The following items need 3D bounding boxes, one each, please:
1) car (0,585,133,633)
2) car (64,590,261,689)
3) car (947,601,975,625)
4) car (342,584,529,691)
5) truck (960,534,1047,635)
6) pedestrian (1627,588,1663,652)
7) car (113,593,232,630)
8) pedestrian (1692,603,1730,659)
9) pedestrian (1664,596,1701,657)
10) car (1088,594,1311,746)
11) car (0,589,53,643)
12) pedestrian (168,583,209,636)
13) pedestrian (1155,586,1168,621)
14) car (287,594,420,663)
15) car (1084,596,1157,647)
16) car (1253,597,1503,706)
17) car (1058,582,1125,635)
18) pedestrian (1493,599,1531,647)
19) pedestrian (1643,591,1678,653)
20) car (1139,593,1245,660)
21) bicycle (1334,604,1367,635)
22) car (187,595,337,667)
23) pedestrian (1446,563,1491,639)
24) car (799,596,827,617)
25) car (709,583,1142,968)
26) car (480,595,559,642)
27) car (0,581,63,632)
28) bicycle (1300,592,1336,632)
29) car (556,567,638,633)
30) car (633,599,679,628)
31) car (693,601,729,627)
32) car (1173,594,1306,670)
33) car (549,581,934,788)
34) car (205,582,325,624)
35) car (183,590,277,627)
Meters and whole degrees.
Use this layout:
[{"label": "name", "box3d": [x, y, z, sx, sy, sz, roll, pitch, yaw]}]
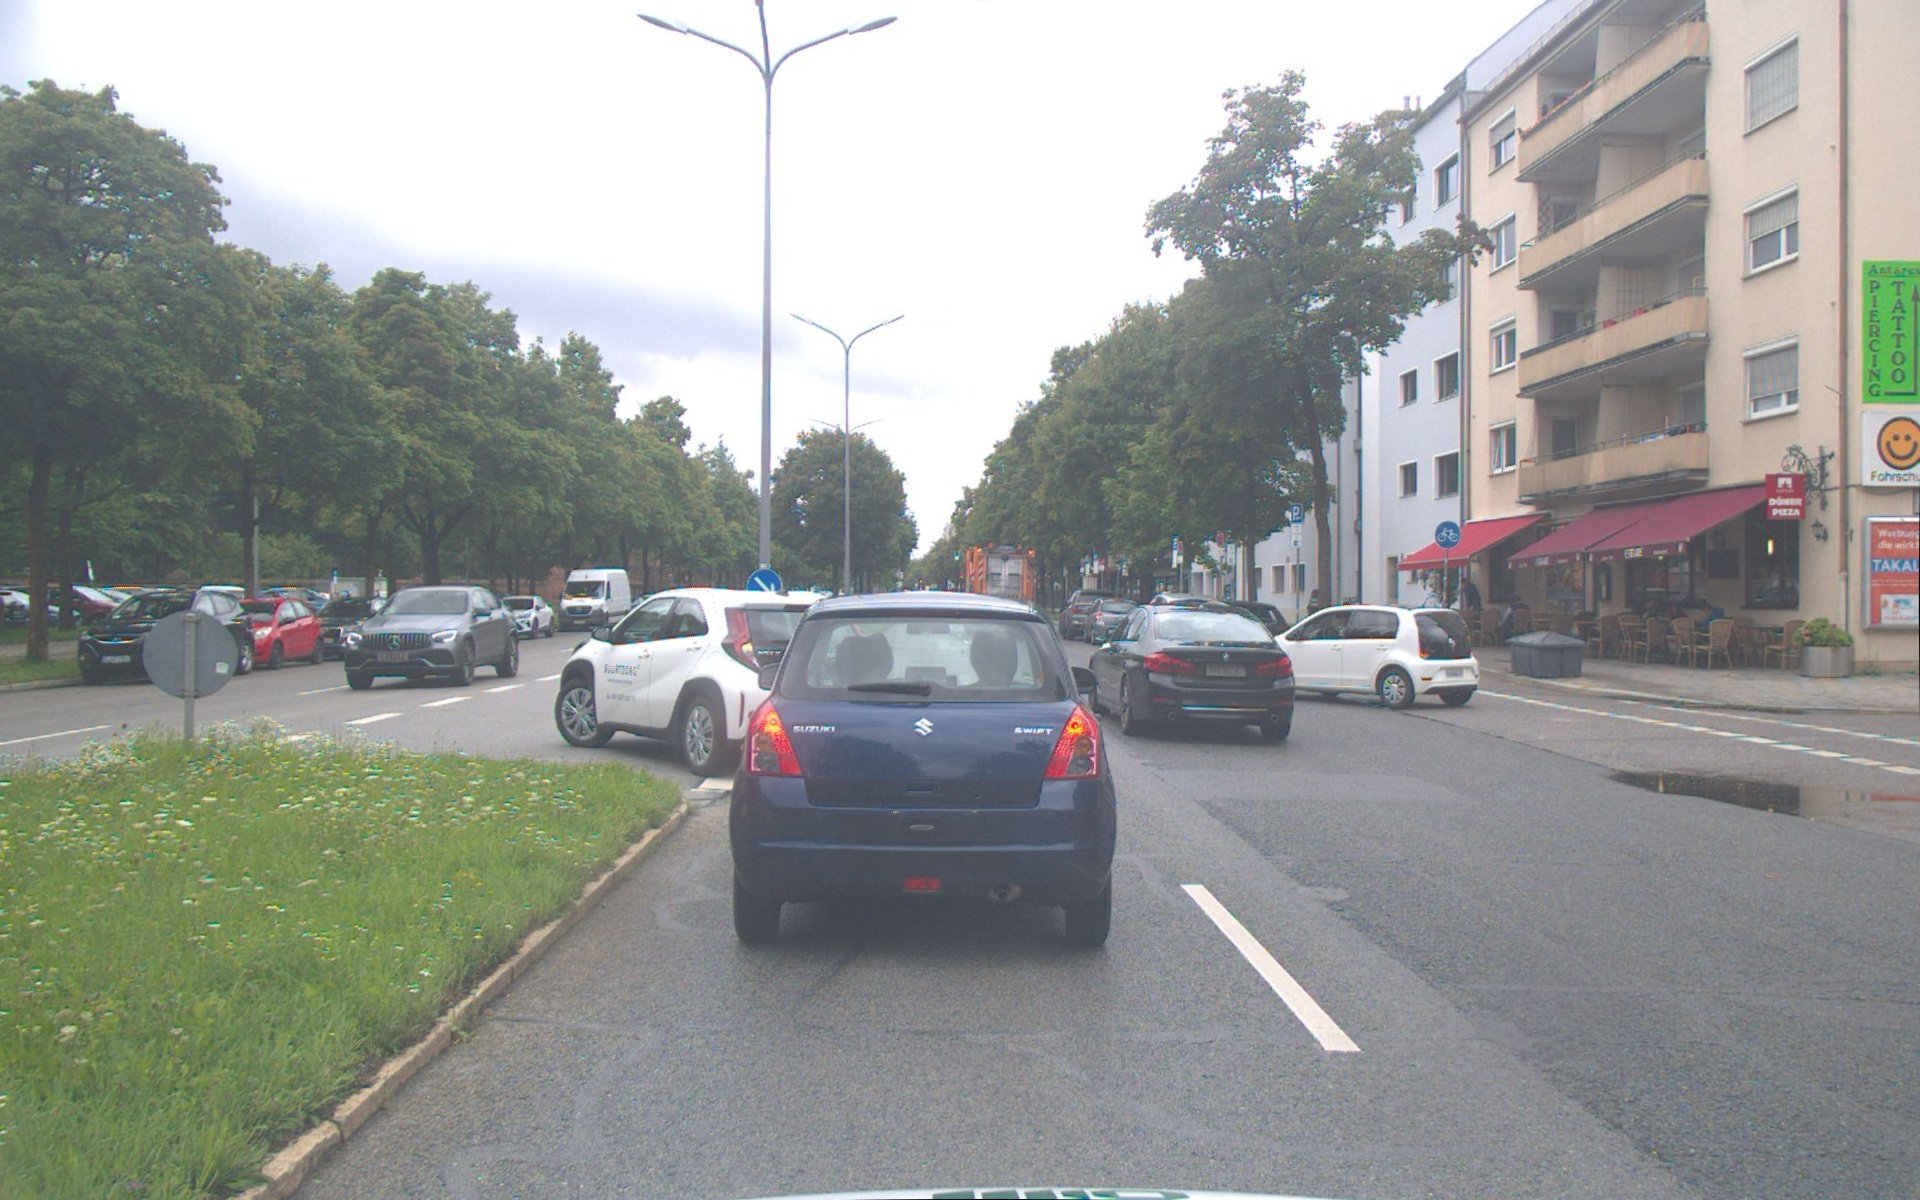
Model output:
[{"label": "car", "box3d": [-28.115, 0.274, 51.354, 3.911, 1.467, 1.997, 0, 0, -7]}, {"label": "car", "box3d": [-14.845, 0.719, 31.056, 1.785, 1.729, 4.237, 0, -1, -3]}, {"label": "car", "box3d": [0.053, 0.892, 114.230, 1.793, 1.549, 3.769, 0, 0, -3]}, {"label": "car", "box3d": [-8.653, 0.560, 27.698, 1.784, 1.617, 4.500, 0, 1, -1]}, {"label": "truck", "box3d": [1.593, -0.603, 66.666, 2.979, 3.619, 13.672, 0, 0, -1]}, {"label": "pedestrian", "box3d": [14.802, 0.432, 35.733, 0.527, 1.362, 0.552, 0, 0, -3]}, {"label": "car", "box3d": [-32.059, 0.462, 67.415, 3.911, 1.467, 1.997, 0, 0, -7]}, {"label": "pedestrian", "box3d": [14.647, 0.605, 32.264, 0.527, 1.072, 0.487, 0, 0, -1]}, {"label": "pedestrian", "box3d": [14.774, 0.530, 33.830, 0.527, 1.235, 0.487, 0, 0, -1]}, {"label": "car", "box3d": [2.665, 0.719, 19.490, 1.785, 1.503, 4.689, 2, 0, -2]}, {"label": "car", "box3d": [-27.720, 0.414, 45.816, 4.053, 1.467, 1.999, 0, 0, -4]}, {"label": "pedestrian", "box3d": [-22.450, 0.284, 48.135, 0.778, 1.521, 0.856, 0, 0, -1]}, {"label": "pedestrian", "box3d": [10.306, 0.159, 84.608, 0.489, 1.763, 0.732, -1, 0, -1]}, {"label": "car", "box3d": [-14.991, 0.660, 41.096, 1.784, 1.627, 4.112, 0, 0, 0]}, {"label": "car", "box3d": [5.113, 0.654, 53.092, 1.793, 1.549, 3.769, 0, 0, -3]}, {"label": "car", "box3d": [6.266, 0.719, 25.020, 1.675, 1.516, 3.388, 0, 0, -38]}, {"label": "car", "box3d": [4.559, 0.269, 57.952, 1.793, 1.776, 4.506, 0, 0, -3]}, {"label": "pedestrian", "box3d": [13.939, 0.572, 41.794, 0.728, 1.183, 0.646, 0, 0, -2]}, {"label": "pedestrian", "box3d": [14.746, 0.463, 34.817, 0.527, 1.290, 0.486, 0, 0, -3]}, {"label": "car", "box3d": [5.655, 0.617, 40.828, 1.793, 1.549, 4.521, 0, 0, -3]}, {"label": "bicycle", "box3d": [13.604, 0.669, 57.657, 0.609, 1.065, 2.195, 0, 0, -1]}, {"label": "car", "box3d": [-15.224, 0.672, 36.295, 1.785, 1.505, 3.807, 0, -1, -3]}, {"label": "pedestrian", "box3d": [13.276, 0.013, 43.213, 0.854, 1.963, 0.757, 0, 0, -18]}, {"label": "car", "box3d": [-10.908, 0.463, 122.865, 1.779, 1.473, 4.780, -1, 0, -2]}, {"label": "car", "box3d": [-0.156, 0.692, 8.589, 1.717, 1.531, 3.999, 0, 0, -1]}, {"label": "car", "box3d": [-15.491, 0.667, 58.321, 1.785, 1.554, 4.296, -2, -1, -3]}, {"label": "car", "box3d": [-28.614, 0.174, 48.152, 3.911, 1.467, 1.997, 0, 0, -7]}, {"label": "bicycle", "box3d": [13.403, 0.444, 62.011, 0.688, 1.432, 2.592, -2, 0, -1]}, {"label": "car", "box3d": [-15.808, -0.047, 72.376, 2.096, 2.690, 7.104, -1, 1, -1]}, {"label": "car", "box3d": [-16.132, 0.723, 87.860, 1.820, 1.517, 4.140, 0, -1, -3]}, {"label": "car", "box3d": [-16.099, 0.870, 107.296, 1.849, 1.564, 4.312, -2, 0, -3]}, {"label": "car", "box3d": [5.829, 0.640, 34.979, 1.794, 1.498, 3.883, 0, 0, -6]}, {"label": "car", "box3d": [-2.046, 0.635, 14.695, 1.809, 1.580, 3.670, 0, 0, -38]}, {"label": "car", "box3d": [-27.055, 0.106, 64.492, 3.905, 1.598, 1.814, 0, 0, 0]}, {"label": "car", "box3d": [-41.354, 0.482, 93.745, 4.415, 2.070, 1.999, 0, 0, -2]}]
